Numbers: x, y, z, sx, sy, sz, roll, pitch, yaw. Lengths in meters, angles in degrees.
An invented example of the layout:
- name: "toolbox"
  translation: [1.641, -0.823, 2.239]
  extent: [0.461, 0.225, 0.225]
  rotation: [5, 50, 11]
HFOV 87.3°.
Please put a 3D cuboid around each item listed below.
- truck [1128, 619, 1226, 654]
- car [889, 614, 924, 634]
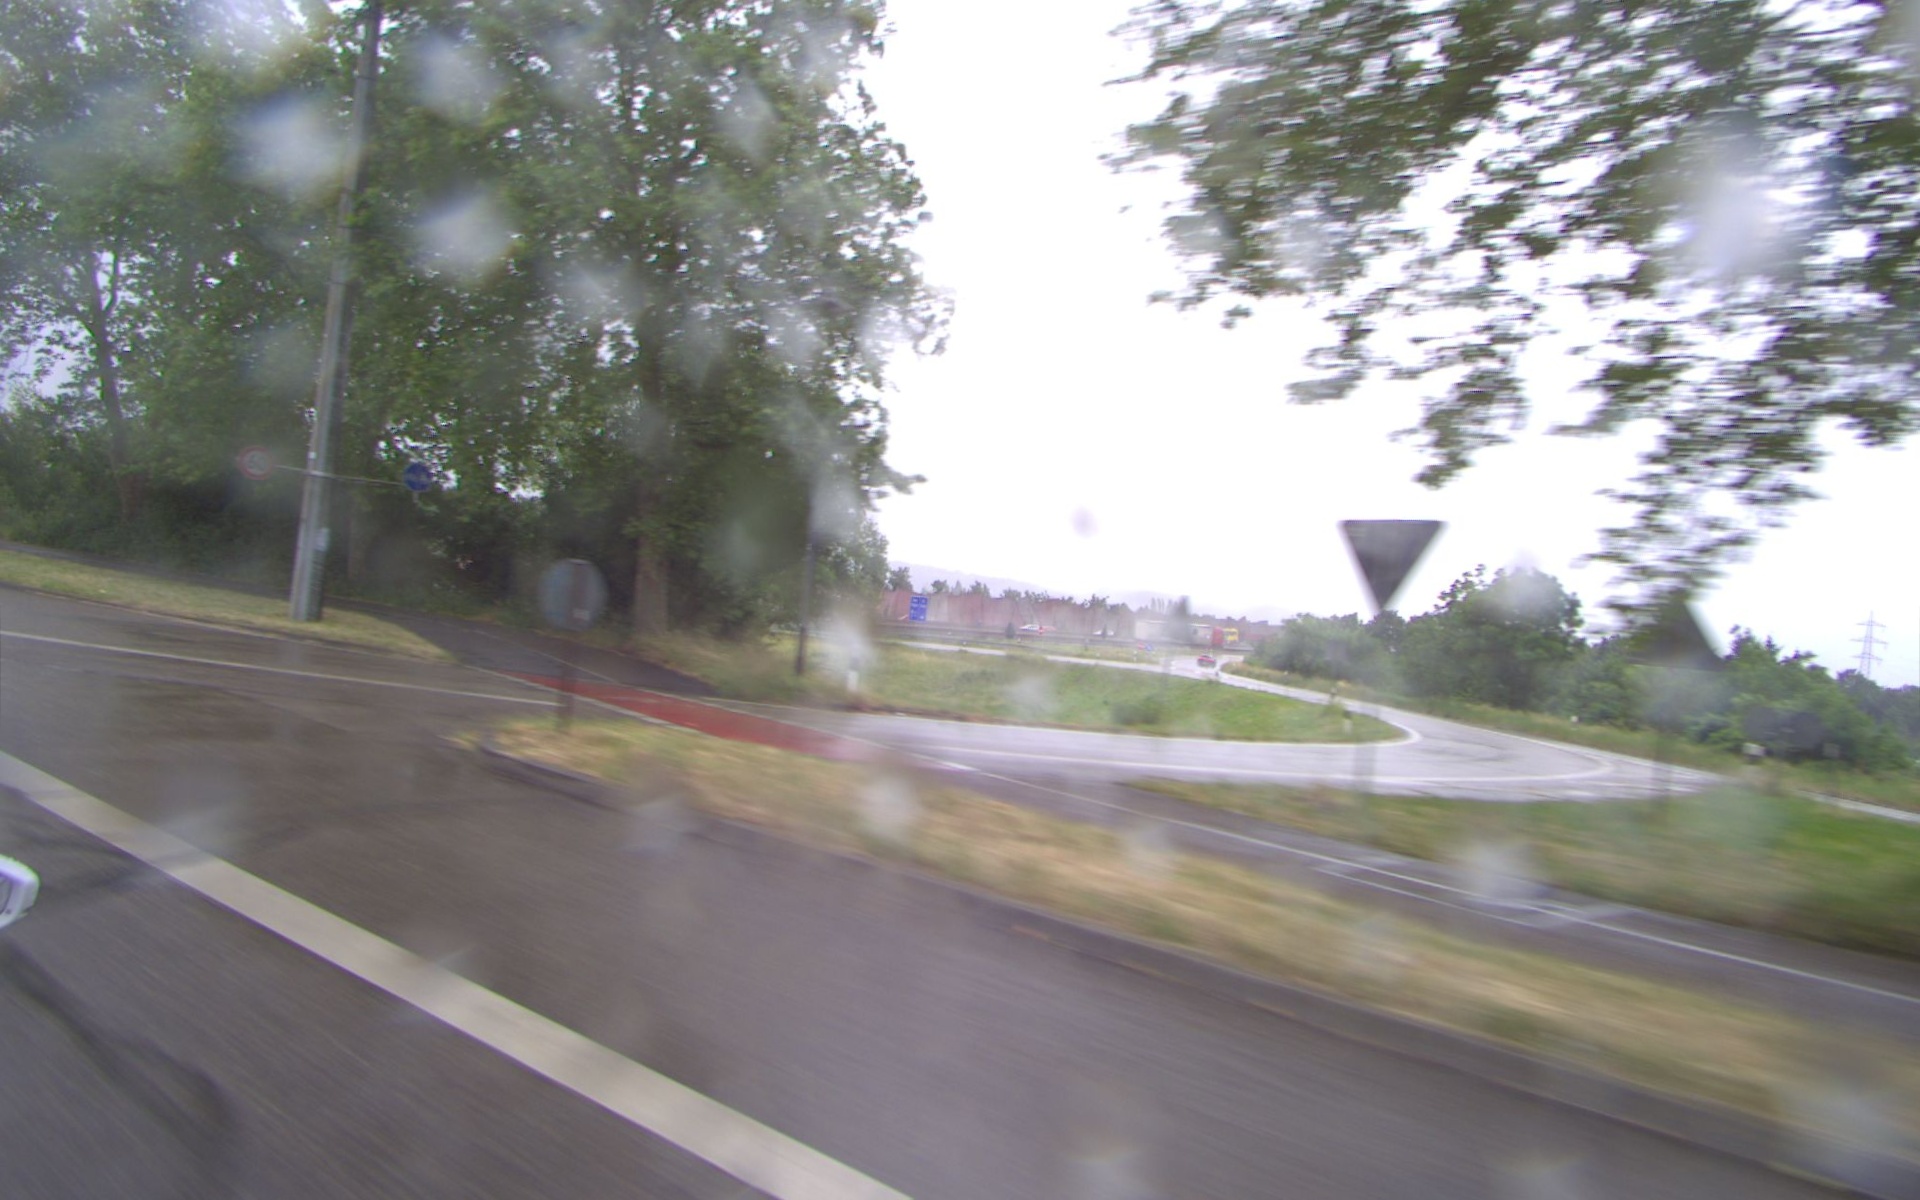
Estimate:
- name: "truck"
  translation: [34.020, 5.819, 157.304]
  extent: [16.576, 4.212, 3.267]
  rotation: [5, 1, -29]
- name: "car"
  translation: [-7.042, 3.157, 132.624]
  extent: [3.954, 2.038, 1.986]
  rotation: [7, 0, -28]
